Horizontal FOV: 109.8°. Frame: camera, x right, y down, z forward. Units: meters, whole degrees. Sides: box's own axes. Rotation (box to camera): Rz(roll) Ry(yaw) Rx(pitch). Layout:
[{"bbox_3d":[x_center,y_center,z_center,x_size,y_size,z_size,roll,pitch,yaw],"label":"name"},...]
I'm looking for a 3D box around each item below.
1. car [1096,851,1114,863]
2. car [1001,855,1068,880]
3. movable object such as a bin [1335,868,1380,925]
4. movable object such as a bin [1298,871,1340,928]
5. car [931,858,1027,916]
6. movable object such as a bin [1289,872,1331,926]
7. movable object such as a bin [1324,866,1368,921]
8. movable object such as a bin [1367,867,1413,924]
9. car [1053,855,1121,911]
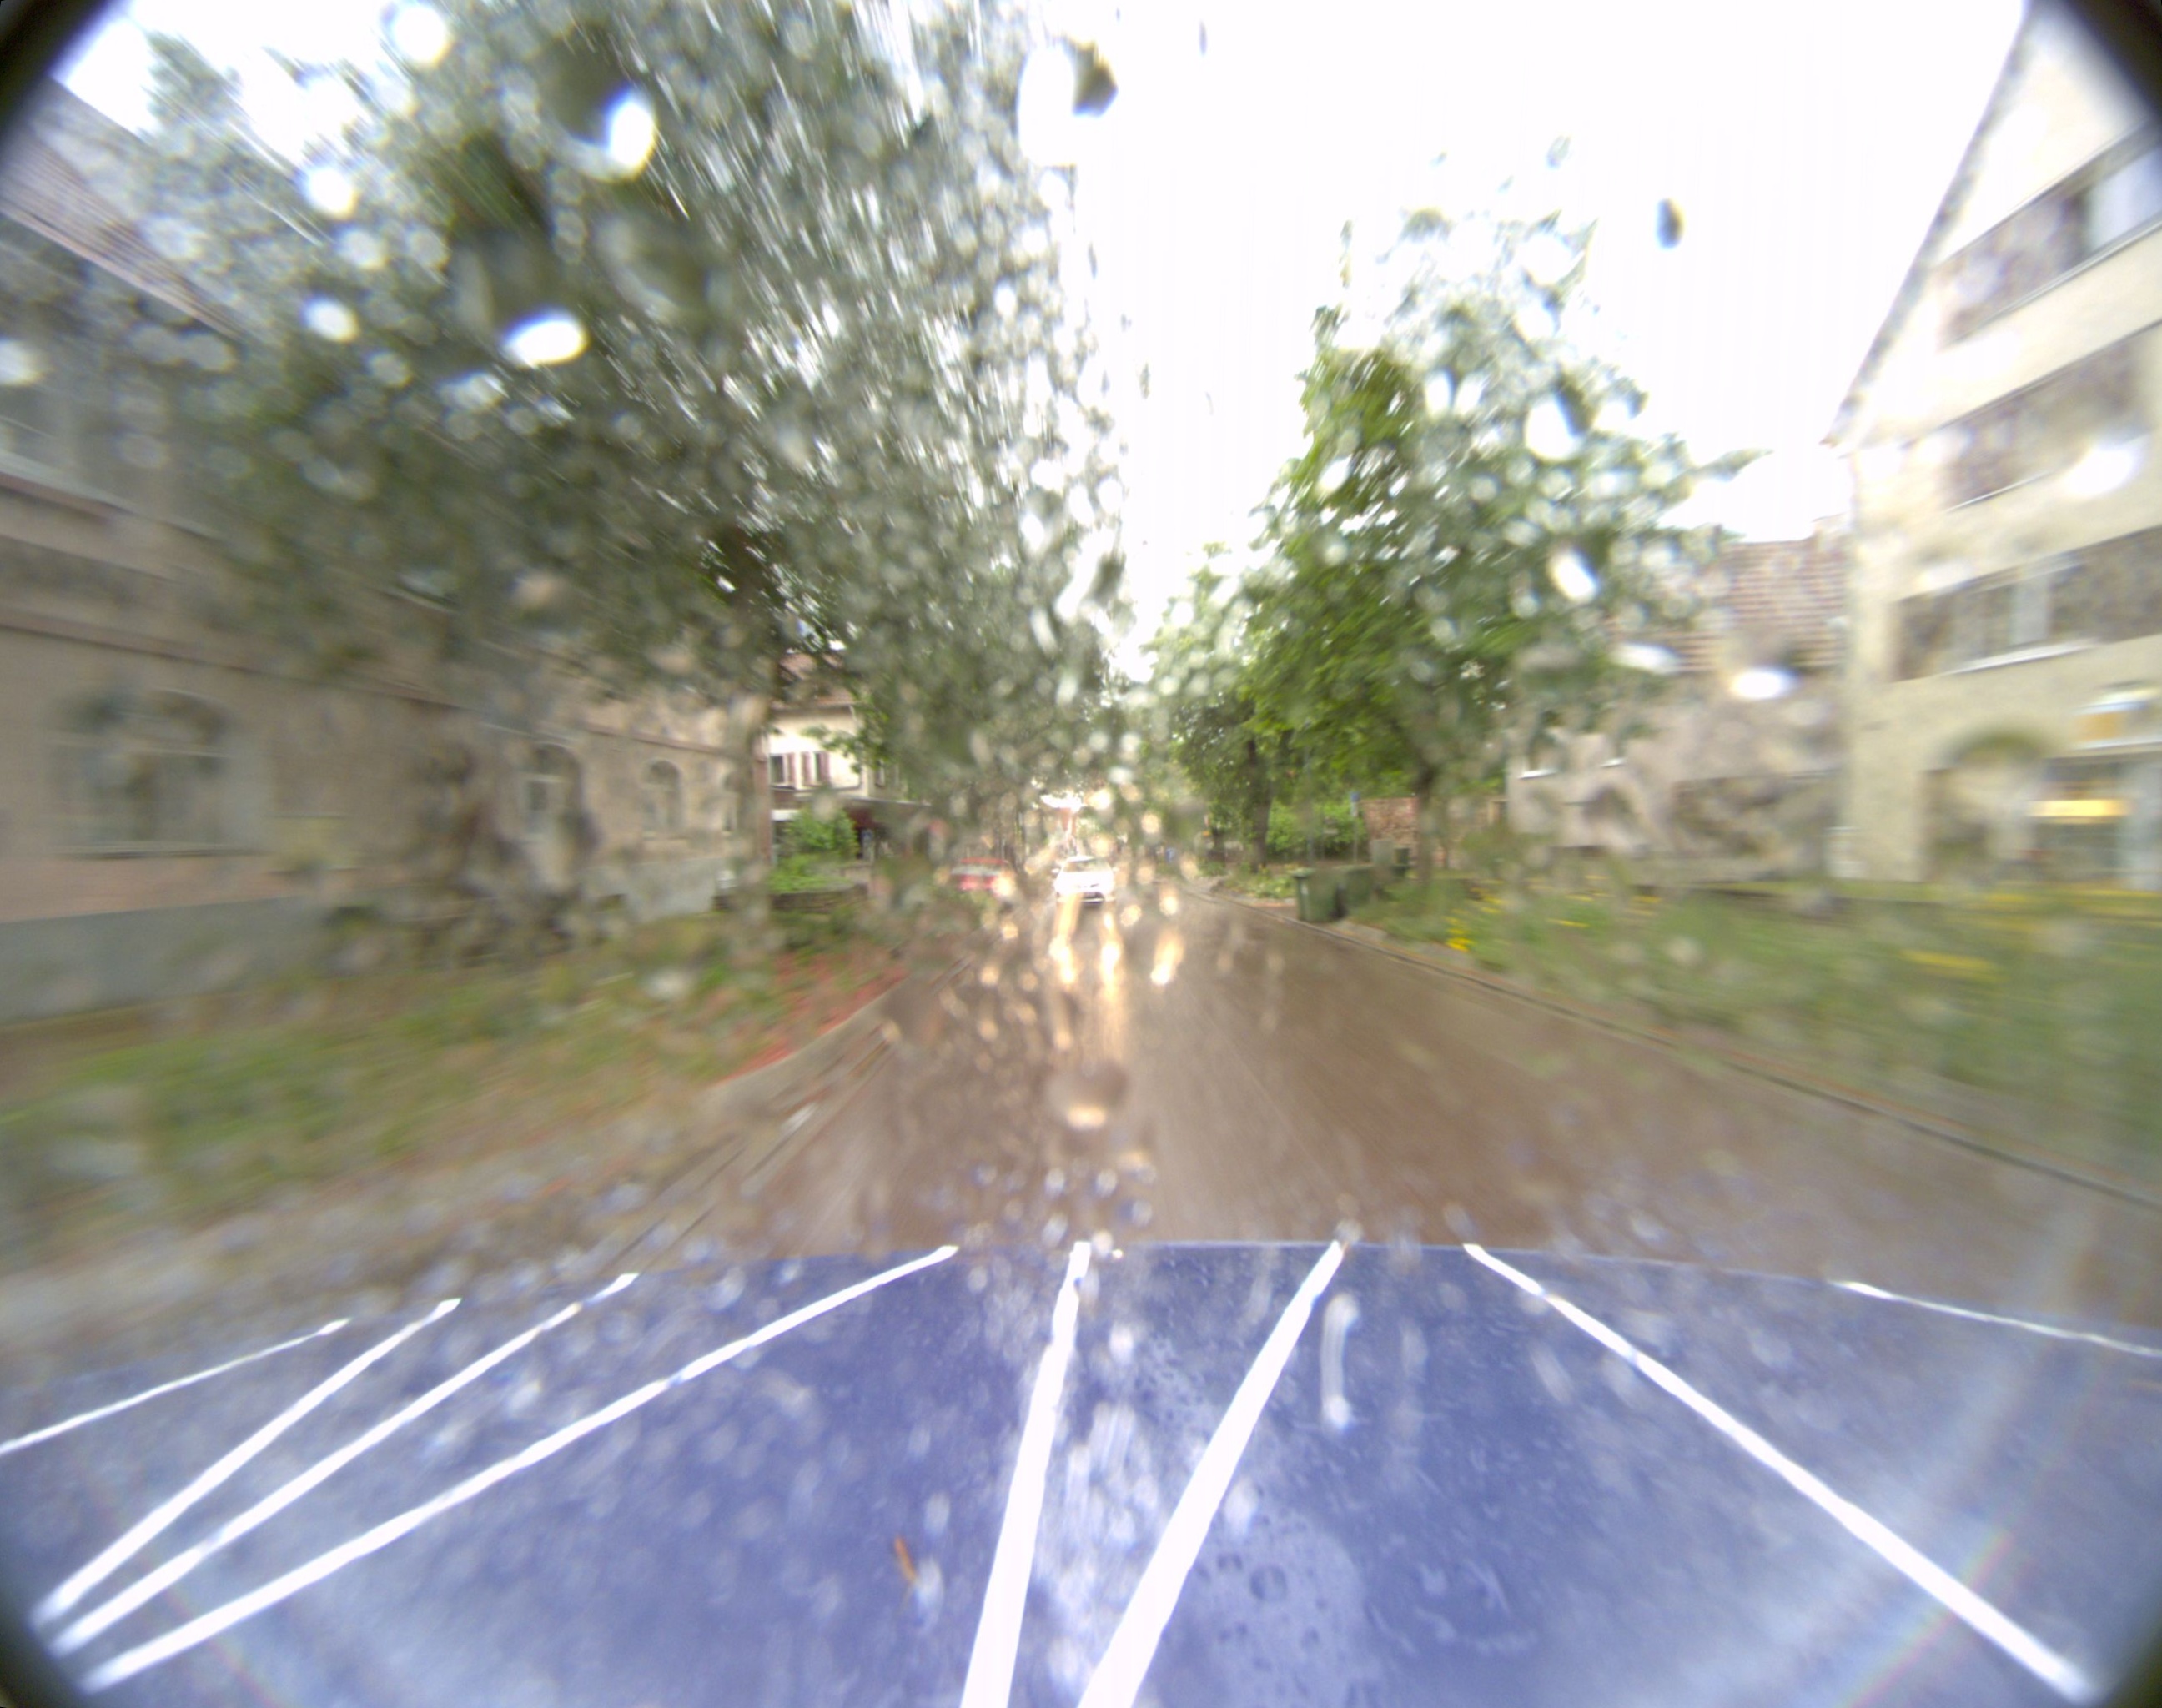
[{"bbox_3d":[2.685,0.330,86.189,1.828,1.353,3.874,-2,0,-1],"label":"car"},{"bbox_3d":[-3.010,0.856,50.134,4.270,1.451,1.829,-2,0,-1],"label":"car"},{"bbox_3d":[5.508,0.840,15.172,0.618,1.053,0.568,-4,1,-1],"label":"movable object such as a bin"},{"bbox_3d":[4.745,0.894,15.146,0.585,1.071,0.570,-4,1,-1],"label":"movable object such as a bin"},{"bbox_3d":[-2.836,0.871,22.233,1.896,1.460,4.824,-1,0,3],"label":"car"},{"bbox_3d":[4.763,0.929,15.802,0.629,1.053,0.565,-4,1,-1],"label":"movable object such as a bin"},{"bbox_3d":[5.505,0.809,15.801,0.625,1.055,0.582,-4,1,-1],"label":"movable object such as a bin"},{"bbox_3d":[6.168,0.820,15.172,0.618,1.053,0.561,-4,1,-1],"label":"movable object such as a bin"},{"bbox_3d":[0.264,0.816,23.001,1.828,1.451,3.876,-3,0,3],"label":"car"}]
